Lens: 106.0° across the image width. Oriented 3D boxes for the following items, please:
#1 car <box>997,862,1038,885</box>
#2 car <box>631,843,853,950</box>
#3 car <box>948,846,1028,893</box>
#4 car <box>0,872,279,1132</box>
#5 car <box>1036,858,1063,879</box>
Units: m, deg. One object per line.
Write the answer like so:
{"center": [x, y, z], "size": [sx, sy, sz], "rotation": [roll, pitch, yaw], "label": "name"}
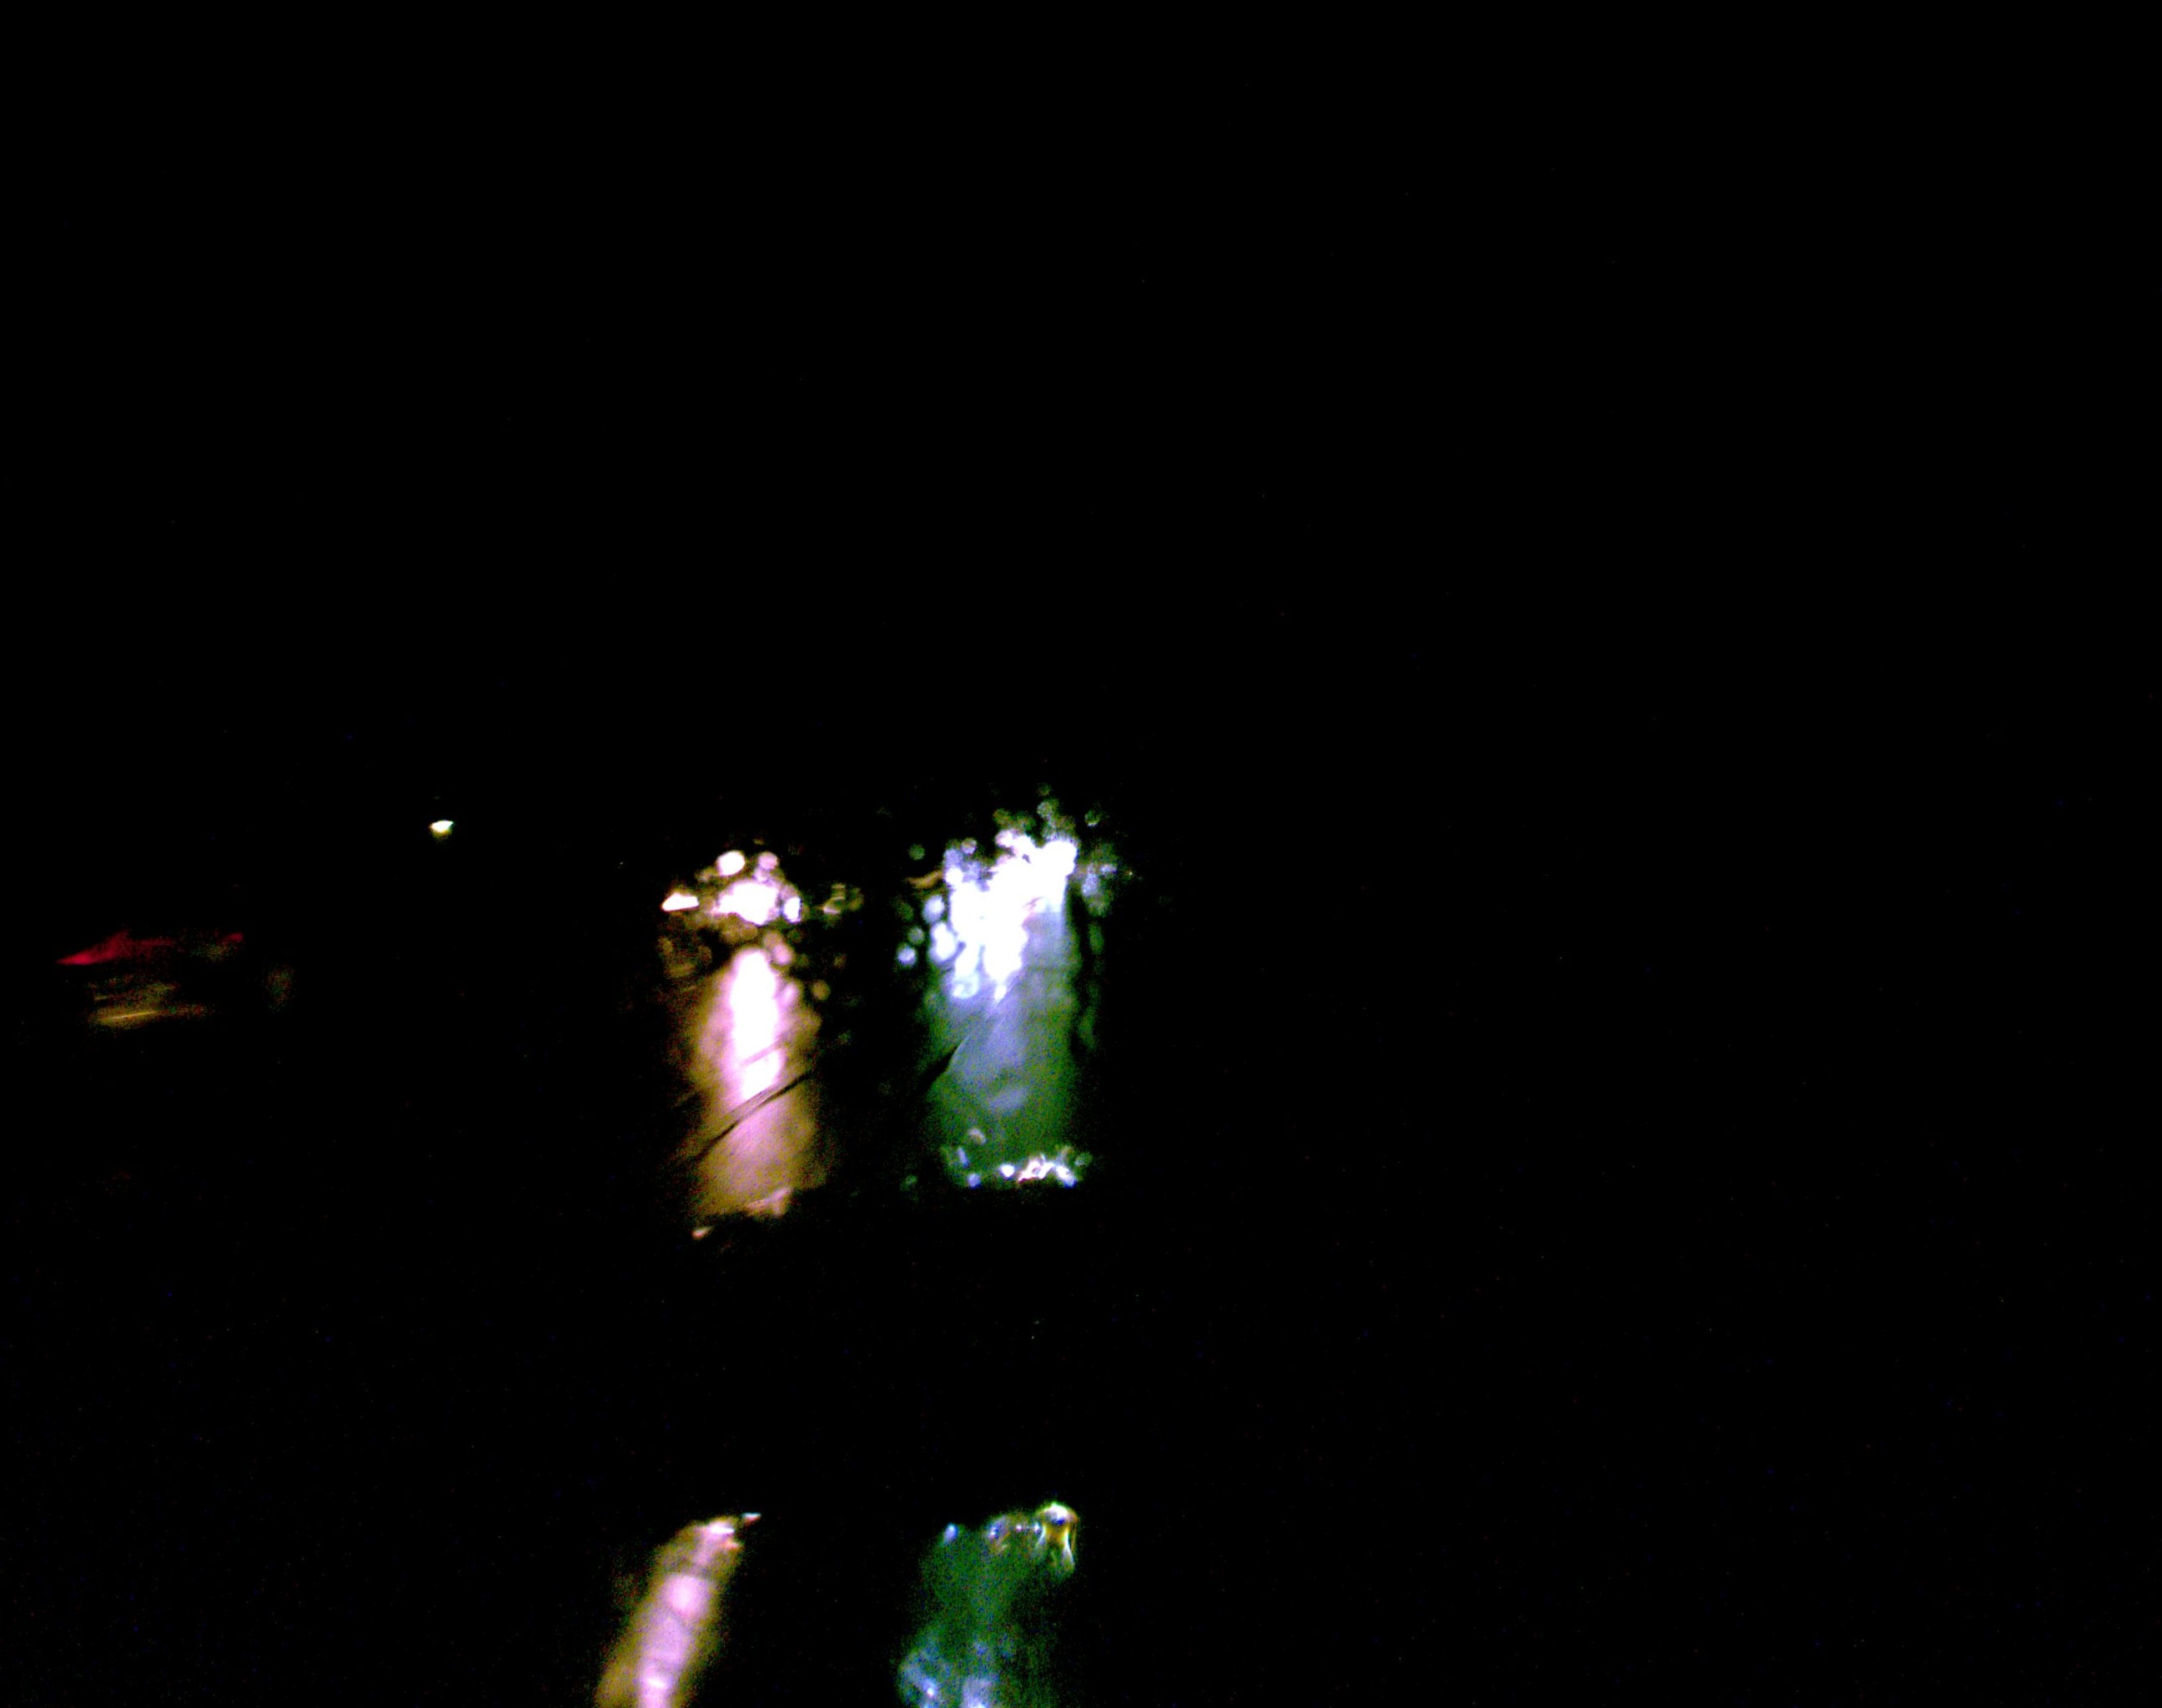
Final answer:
{"center": [-4.047, 1.208, 52.582], "size": [1.795, 1.383, 4.778], "rotation": [0, 0, 5], "label": "car"}
{"center": [-6.761, 0.764, 17.074], "size": [1.984, 1.865, 5.327], "rotation": [-1, 0, 5], "label": "car"}
{"center": [-3.296, 0.525, 29.871], "size": [2.101, 1.575, 4.684], "rotation": [0, 0, 4], "label": "car"}
{"center": [-7.671, 0.924, 4.141], "size": [2.073, 1.542, 4.905], "rotation": [-1, 0, 5], "label": "car"}
{"center": [-2.564, 1.157, 66.687], "size": [1.916, 1.615, 4.086], "rotation": [0, 0, 1], "label": "car"}
